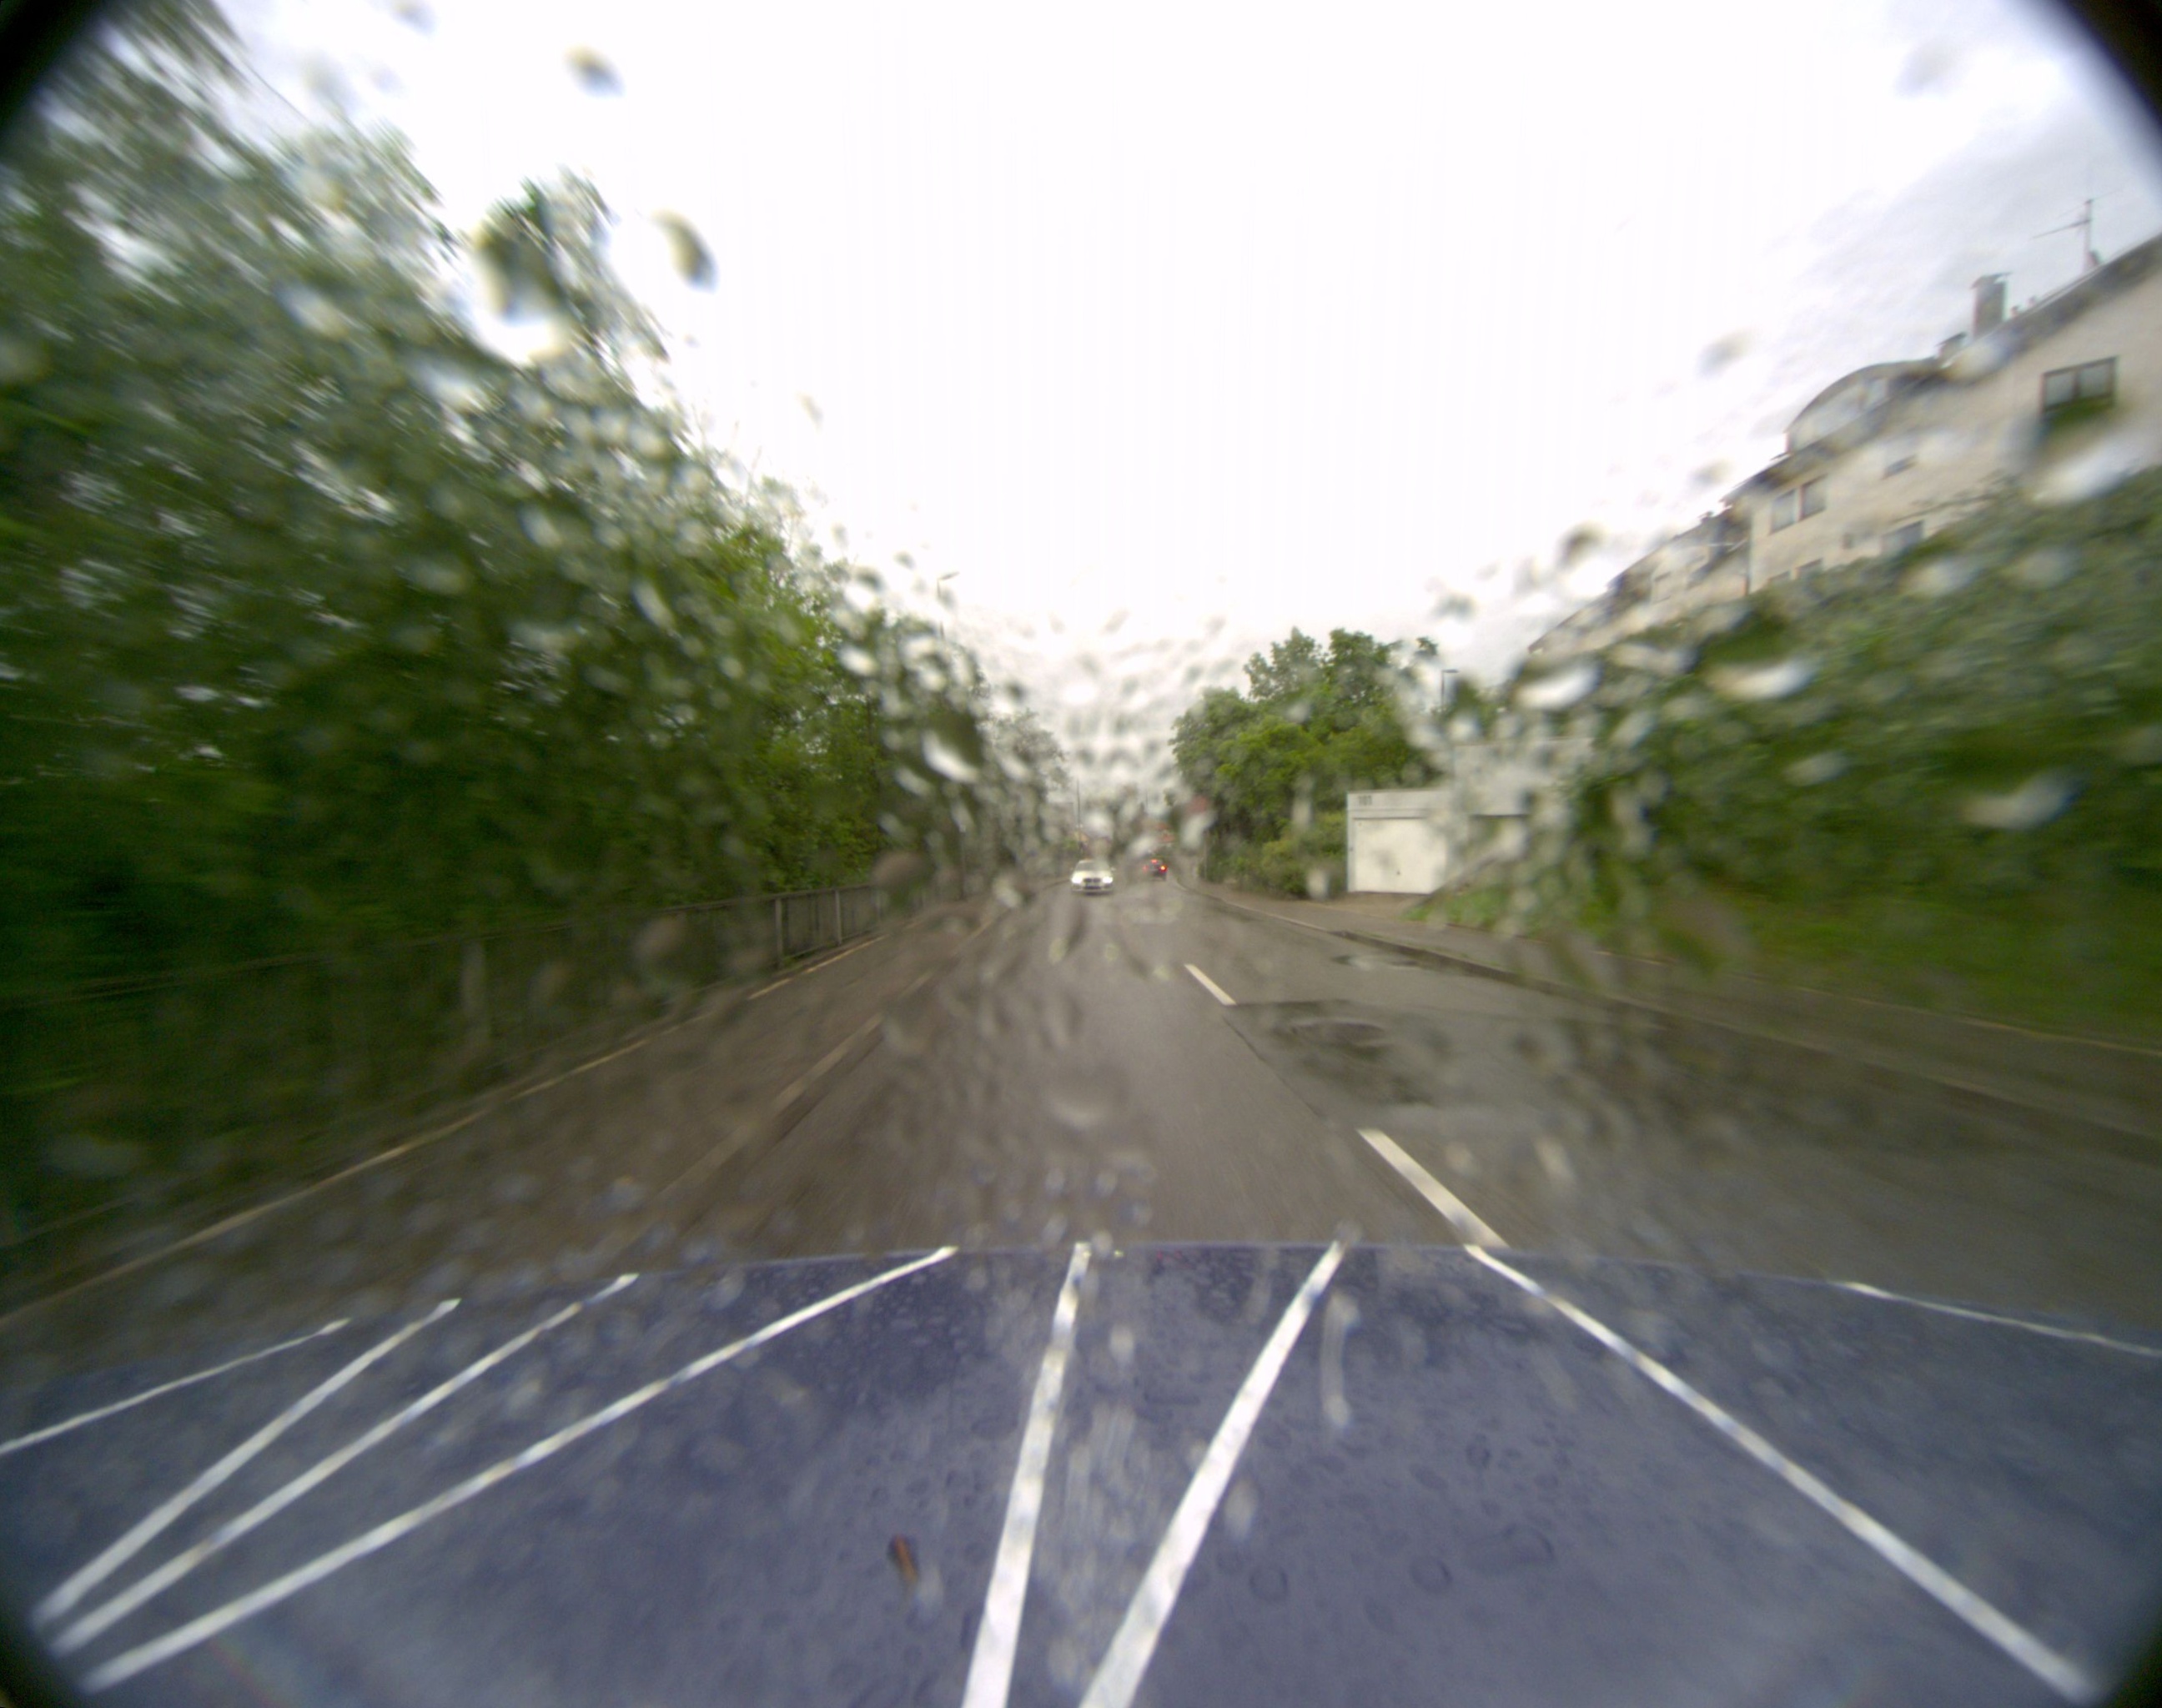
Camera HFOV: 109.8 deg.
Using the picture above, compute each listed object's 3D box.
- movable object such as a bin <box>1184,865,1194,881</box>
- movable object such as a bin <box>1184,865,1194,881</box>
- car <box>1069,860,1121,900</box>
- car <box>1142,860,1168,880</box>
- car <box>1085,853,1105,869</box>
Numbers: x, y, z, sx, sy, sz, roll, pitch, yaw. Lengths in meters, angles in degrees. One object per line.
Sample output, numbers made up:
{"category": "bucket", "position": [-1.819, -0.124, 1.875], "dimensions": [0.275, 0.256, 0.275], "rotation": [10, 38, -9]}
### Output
{"category": "movable object such as a bin", "position": [7.575, 1.312, 53.231], "dimensions": [0.649, 1.097, 0.673], "rotation": [0, 0, 8]}
{"category": "movable object such as a bin", "position": [7.460, 1.300, 52.558], "dimensions": [0.649, 1.109, 0.505], "rotation": [0, 0, 8]}
{"category": "car", "position": [0.665, 1.061, 32.755], "dimensions": [1.797, 1.455, 4.001], "rotation": [2, 1, 7]}
{"category": "car", "position": [5.252, 1.123, 54.555], "dimensions": [1.654, 1.376, 3.530], "rotation": [0, 0, 2]}
{"category": "car", "position": [1.520, 0.742, 83.175], "dimensions": [1.630, 1.485, 3.428], "rotation": [7, 2, 8]}
